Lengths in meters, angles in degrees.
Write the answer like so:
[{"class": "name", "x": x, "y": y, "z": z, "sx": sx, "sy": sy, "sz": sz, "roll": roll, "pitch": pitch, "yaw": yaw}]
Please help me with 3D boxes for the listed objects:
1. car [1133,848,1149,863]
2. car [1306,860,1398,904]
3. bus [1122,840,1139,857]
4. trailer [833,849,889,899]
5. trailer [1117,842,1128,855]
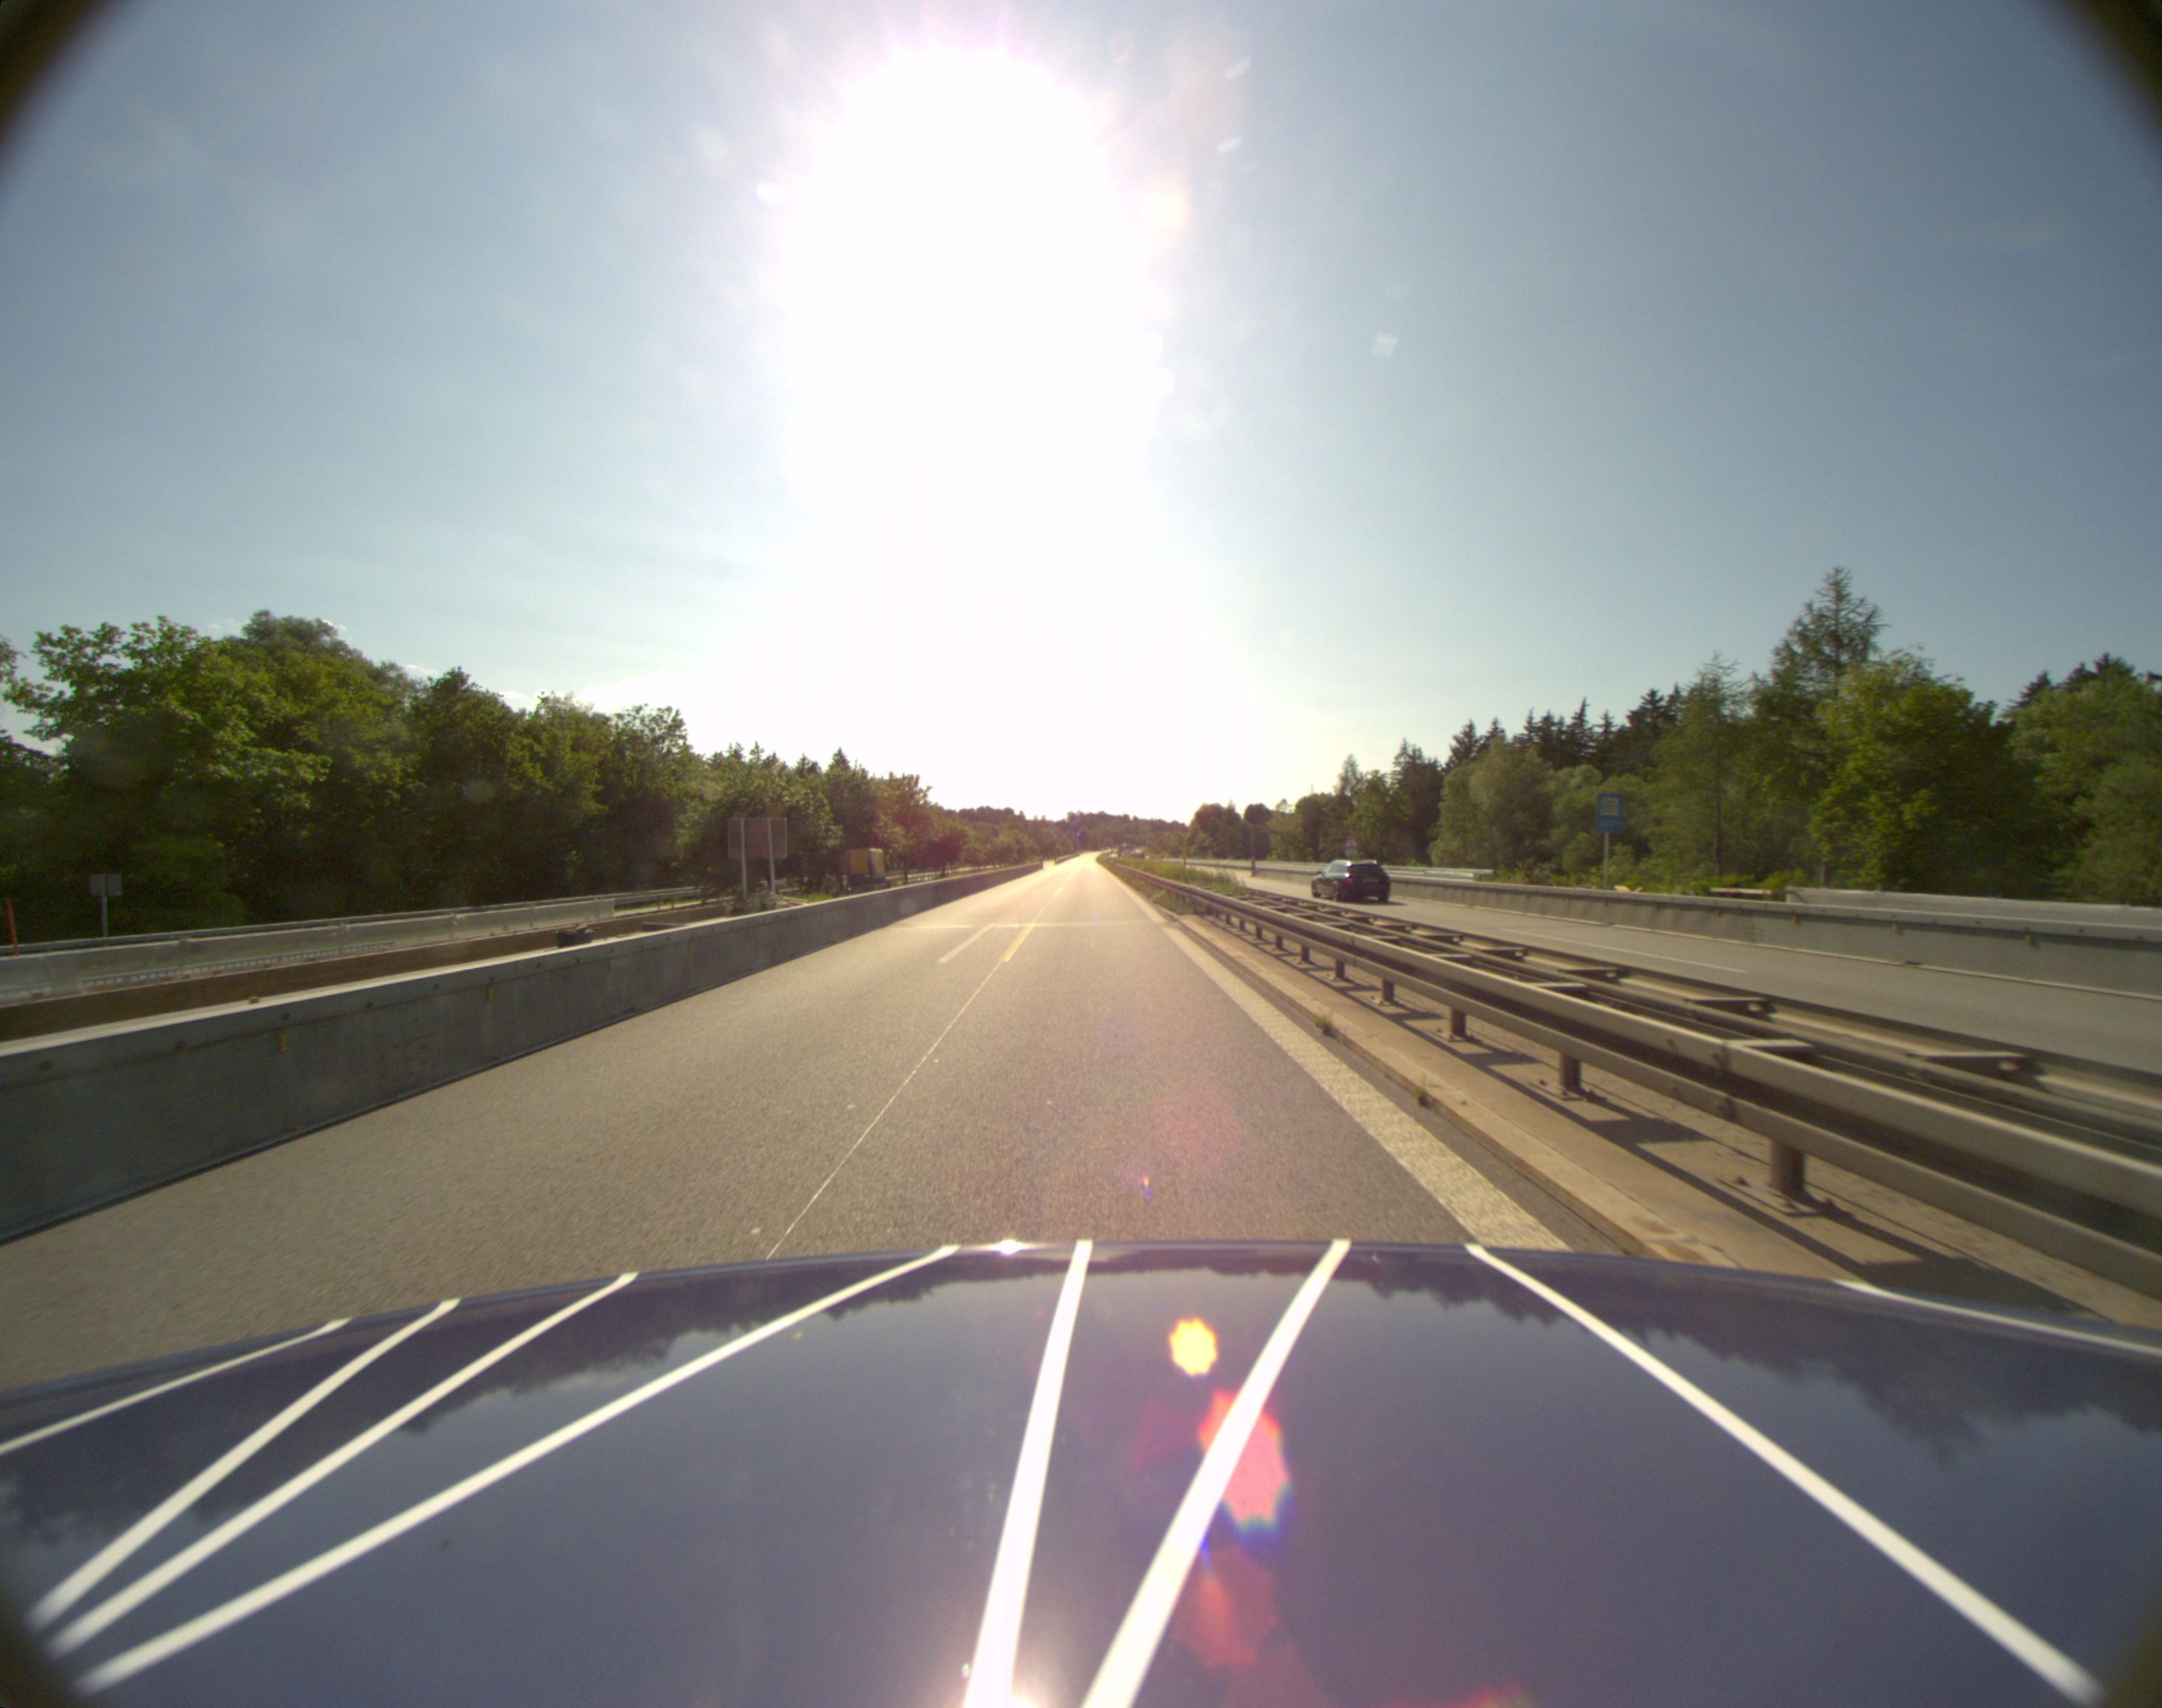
[{"class": "car", "x": 8.091, "y": 0.204, "z": 102.965, "sx": 1.878, "sy": 1.962, "sz": 5.577, "roll": -2, "pitch": 0, "yaw": 2}, {"class": "car", "x": 9.498, "y": 0.912, "z": 27.032, "sx": 1.650, "sy": 1.369, "sz": 4.808, "roll": 0, "pitch": 0, "yaw": 2}, {"class": "bus", "x": 11.197, "y": -1.283, "z": 172.912, "sx": 2.889, "sy": 3.649, "sz": 12.916, "roll": -1, "pitch": 0, "yaw": 0}, {"class": "trailer", "x": -8.710, "y": 0.733, "z": 30.354, "sx": 1.128, "sy": 1.863, "sz": 3.999, "roll": 0, "pitch": 0, "yaw": -1}, {"class": "trailer", "x": 13.130, "y": -1.798, "z": 242.119, "sx": 2.748, "sy": 4.047, "sz": 13.995, "roll": 2, "pitch": 1, "yaw": 1}]
